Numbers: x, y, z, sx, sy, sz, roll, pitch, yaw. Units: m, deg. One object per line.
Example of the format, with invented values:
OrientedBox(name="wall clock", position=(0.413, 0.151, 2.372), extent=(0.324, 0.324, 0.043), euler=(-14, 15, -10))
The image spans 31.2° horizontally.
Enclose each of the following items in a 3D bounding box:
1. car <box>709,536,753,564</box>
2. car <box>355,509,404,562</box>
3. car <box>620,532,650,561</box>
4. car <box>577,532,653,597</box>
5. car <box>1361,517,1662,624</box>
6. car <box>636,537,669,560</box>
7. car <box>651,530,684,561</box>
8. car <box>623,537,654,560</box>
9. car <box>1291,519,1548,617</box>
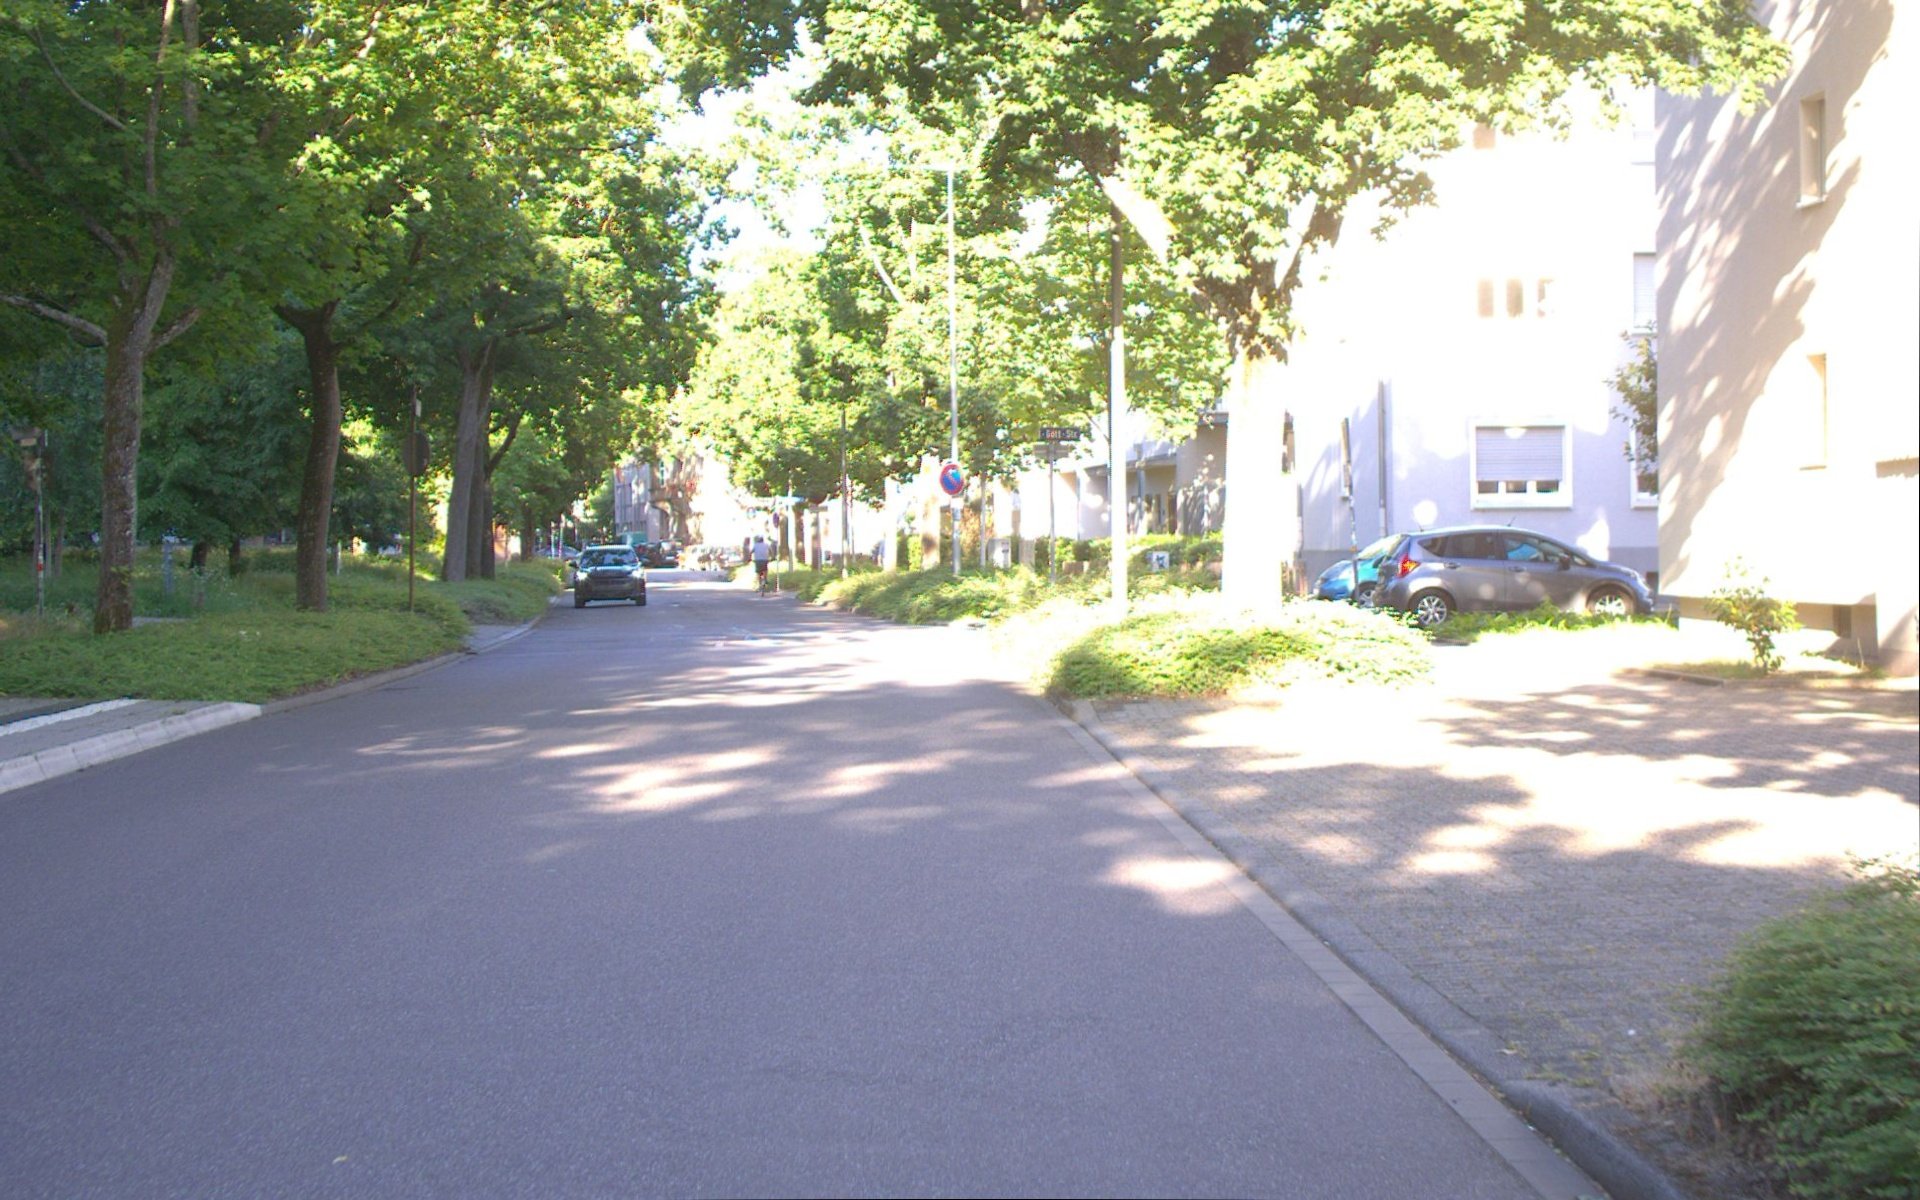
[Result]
OrientedBox(name="car", position=(-12.746, -2.776, 190.927), extent=(1.811, 1.496, 4.001), euler=(-1, 1, -13))
OrientedBox(name="car", position=(-28.023, -3.111, 165.870), extent=(1.993, 2.499, 4.001), euler=(0, 1, -15))
OrientedBox(name="car", position=(-23.033, -3.815, 243.751), extent=(1.811, 2.043, 4.001), euler=(1, 1, -9))
OrientedBox(name="car", position=(-8.917, -0.946, 89.179), extent=(1.844, 1.573, 4.336), euler=(-2, 1, -5))
OrientedBox(name="car", position=(8.030, -0.418, 50.278), extent=(4.040, 1.509, 1.727), euler=(0, 0, -5))
OrientedBox(name="car", position=(-20.332, -3.414, 227.187), extent=(1.811, 1.496, 4.001), euler=(1, 1, -9))
OrientedBox(name="car", position=(-18.660, -3.491, 219.168), extent=(1.811, 1.919, 4.001), euler=(1, 1, -9))
OrientedBox(name="car", position=(-21.857, -3.510, 233.607), extent=(1.811, 1.496, 4.001), euler=(1, 1, -9))
OrientedBox(name="car", position=(7.742, -0.553, 58.064), extent=(3.986, 1.576, 1.810), euler=(-1, 2, -6))
